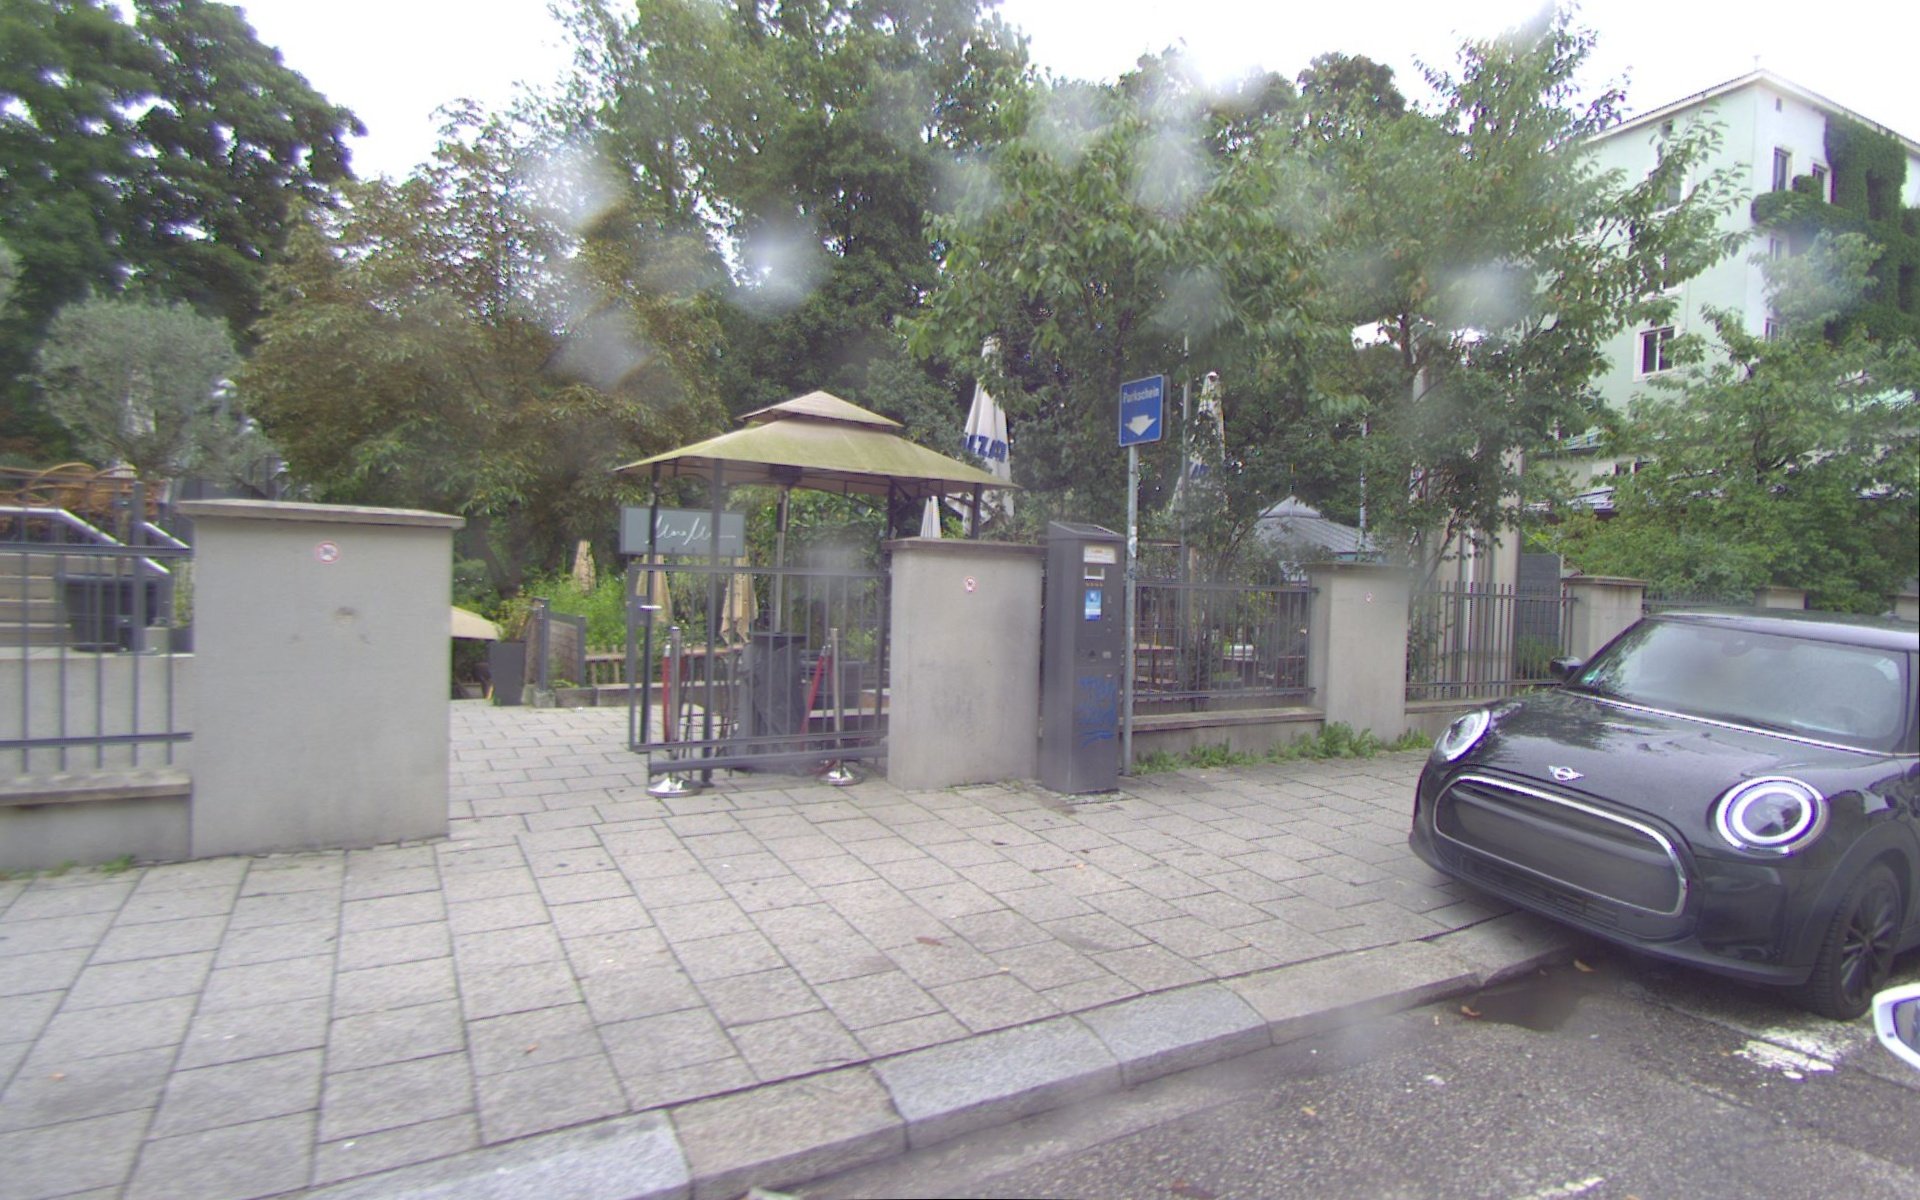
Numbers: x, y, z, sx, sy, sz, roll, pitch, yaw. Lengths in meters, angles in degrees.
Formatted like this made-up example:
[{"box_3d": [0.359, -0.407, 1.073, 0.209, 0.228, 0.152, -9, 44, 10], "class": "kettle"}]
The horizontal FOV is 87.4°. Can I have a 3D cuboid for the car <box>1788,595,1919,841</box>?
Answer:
[{"box_3d": [8.276, 0.805, 7.530, 4.646, 1.564, 1.876, 1, 1, -33], "class": "car"}]

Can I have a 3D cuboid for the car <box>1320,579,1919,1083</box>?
[{"box_3d": [3.953, 0.757, 4.955, 4.137, 1.565, 1.851, 1, -1, -29], "class": "car"}]
